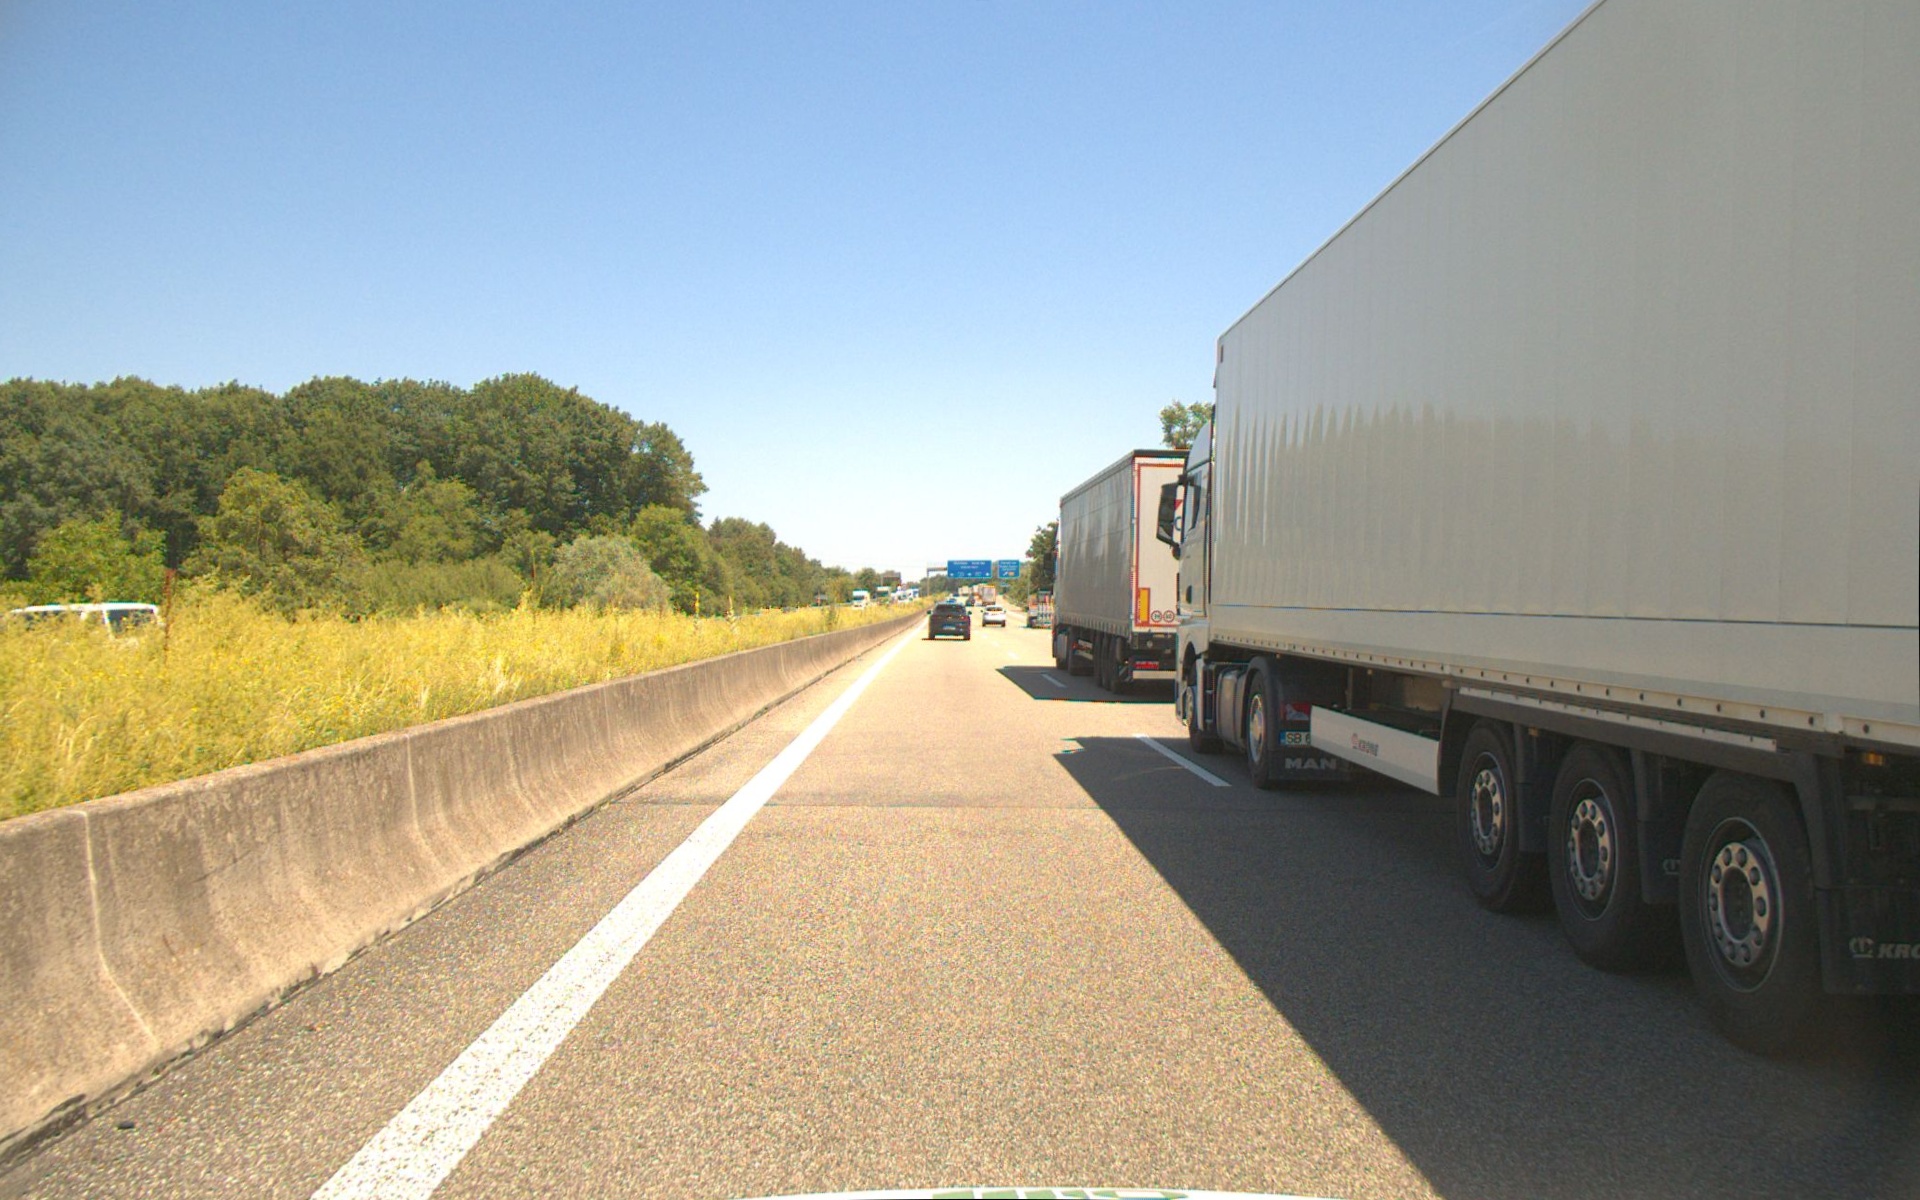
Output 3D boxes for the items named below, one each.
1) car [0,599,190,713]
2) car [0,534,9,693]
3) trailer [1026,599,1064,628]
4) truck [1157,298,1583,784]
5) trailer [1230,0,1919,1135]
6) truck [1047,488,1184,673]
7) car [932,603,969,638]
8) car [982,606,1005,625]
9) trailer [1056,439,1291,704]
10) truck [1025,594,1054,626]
[{"bbox_3d":[-17.257,1.018,32.594,1.843,2.049,5.074,0,0,-1],"label":"car"},{"bbox_3d":[-13.297,0.134,18.151,1.953,2.049,6.555,2,0,-1],"label":"car"},{"bbox_3d":[6.305,0.967,123.461,2.371,2.049,6.032,1,0,-1],"label":"trailer"},{"bbox_3d":[3.836,-0.487,16.995,2.743,4.077,6.019,1,0,-1],"label":"truck"},{"bbox_3d":[3.990,-0.529,8.894,2.738,4.106,12.564,1,0,-1],"label":"trailer"},{"bbox_3d":[3.707,-0.435,40.793,2.645,4.165,6.452,1,0,-1],"label":"truck"},{"bbox_3d":[-0.459,0.945,77.378,1.626,1.576,3.782,0,0,-2],"label":"car"},{"bbox_3d":[2.629,1.209,130.719,1.704,1.512,3.999,0,0,0],"label":"car"},{"bbox_3d":[3.795,-0.435,33.453,2.652,4.139,14.743,1,0,-1],"label":"trailer"},{"bbox_3d":[6.170,0.746,128.807,1.953,2.415,4.643,1,0,-1],"label":"truck"}]
